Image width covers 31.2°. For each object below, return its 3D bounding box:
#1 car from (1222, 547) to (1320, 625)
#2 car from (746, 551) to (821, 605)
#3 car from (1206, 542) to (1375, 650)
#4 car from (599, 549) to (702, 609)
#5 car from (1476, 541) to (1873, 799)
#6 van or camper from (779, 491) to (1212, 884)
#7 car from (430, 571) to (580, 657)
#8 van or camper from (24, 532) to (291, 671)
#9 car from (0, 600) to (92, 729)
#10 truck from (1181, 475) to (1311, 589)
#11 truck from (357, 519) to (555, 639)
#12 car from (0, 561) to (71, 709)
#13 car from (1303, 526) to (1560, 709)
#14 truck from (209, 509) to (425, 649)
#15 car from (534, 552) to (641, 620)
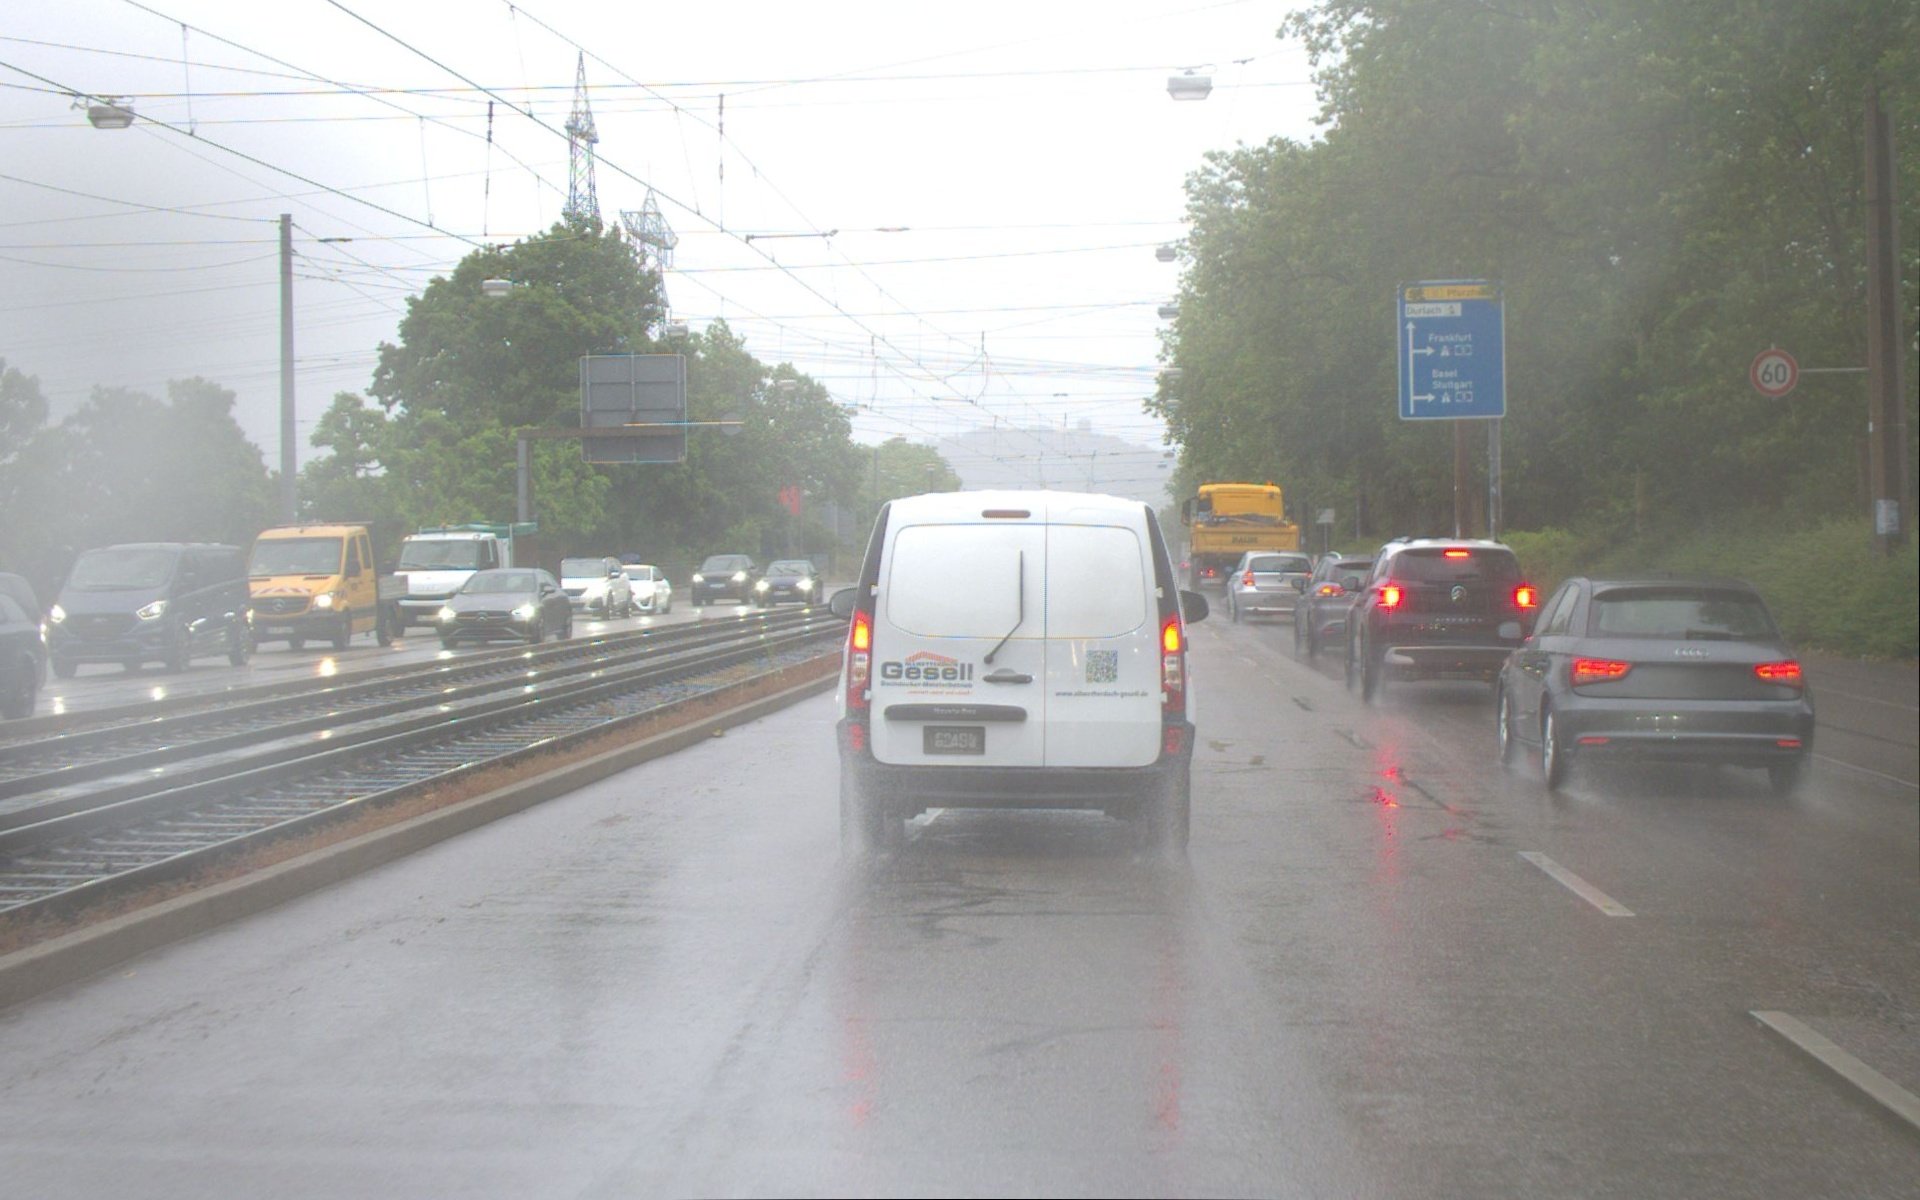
[{"bbox_3d":[6.040,-0.287,67.092,1.818,1.409,3.778,1,2,4],"label":"car"},{"bbox_3d":[-5.541,-0.709,108.265,1.819,1.617,4.536,-1,1,4],"label":"car"},{"bbox_3d":[4.629,-0.089,48.610,1.818,1.409,3.779,0,2,-3],"label":"car"},{"bbox_3d":[-8.789,-0.620,97.891,1.994,1.578,4.765,-2,1,6],"label":"car"},{"bbox_3d":[4.709,0.398,23.238,1.968,1.523,3.991,0,2,2],"label":"car"},{"bbox_3d":[0.202,0.346,18.031,1.993,1.778,4.000,1,2,1],"label":"van or camper"},{"bbox_3d":[-8.427,0.238,64.033,1.858,1.489,4.689,-2,0,4],"label":"car"},{"bbox_3d":[-12.450,-0.027,53.764,2.305,2.007,5.685,1,1,6],"label":"van or camper"},{"bbox_3d":[-13.073,0.851,44.757,1.858,1.612,4.907,-2,0,6],"label":"car"},{"bbox_3d":[7.141,-1.706,86.492,3.113,2.763,6.329,0,1,3],"label":"truck"},{"bbox_3d":[-10.968,-0.499,75.464,2.435,2.449,7.217,1,1,7],"label":"truck"},{"bbox_3d":[-10.482,0.392,33.688,1.994,1.452,4.671,-3,0,4],"label":"car"},{"bbox_3d":[4.796,0.119,35.603,1.899,1.711,4.726,0,2,-1],"label":"car"},{"bbox_3d":[-12.040,-0.424,64.845,2.228,2.453,6.065,1,1,7],"label":"truck"},{"bbox_3d":[-9.676,-0.397,89.657,1.772,1.677,4.688,1,1,6],"label":"car"}]
